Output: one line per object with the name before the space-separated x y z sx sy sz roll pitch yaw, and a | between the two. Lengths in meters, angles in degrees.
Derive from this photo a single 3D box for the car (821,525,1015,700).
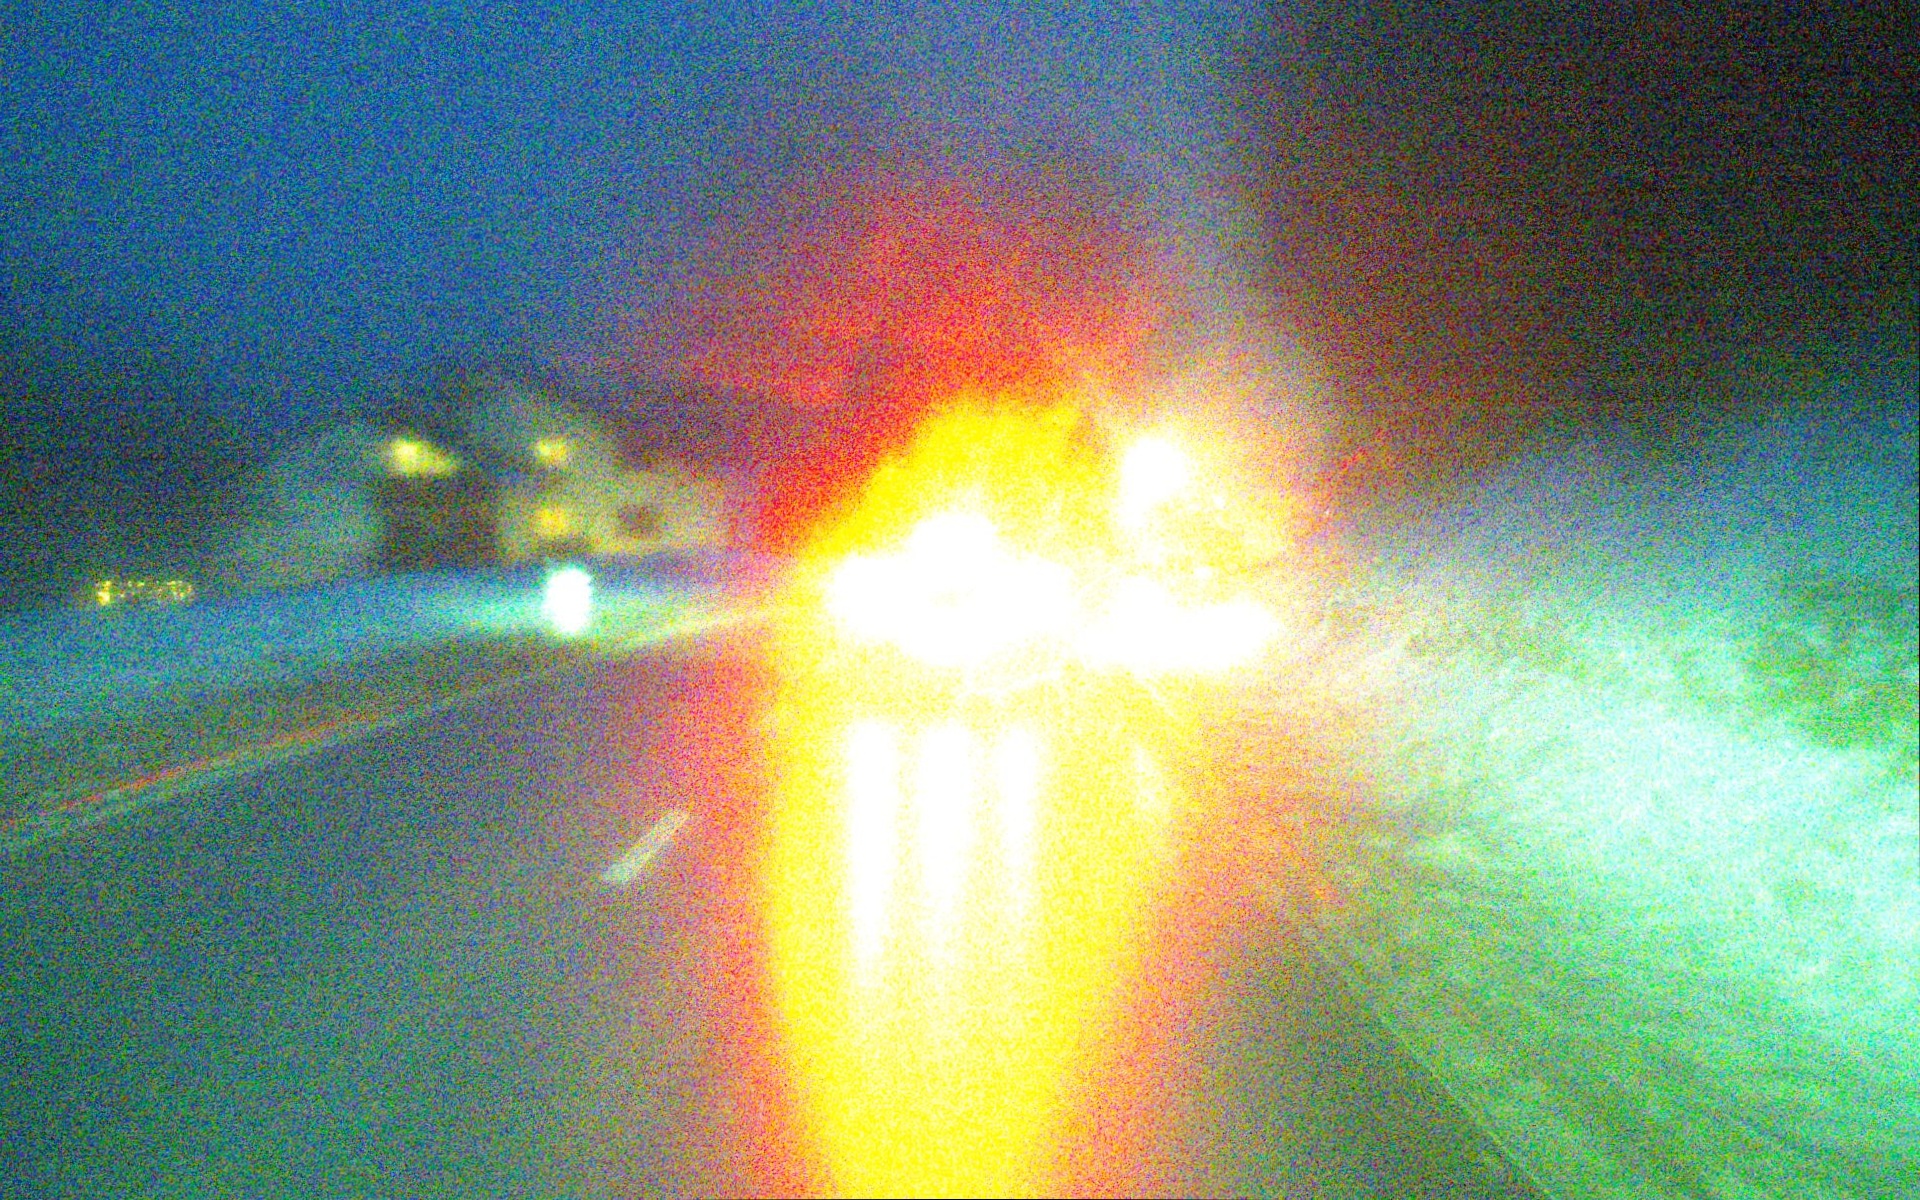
car | -0.378 0.080 33.716 1.801 1.623 3.615 0 1 0
